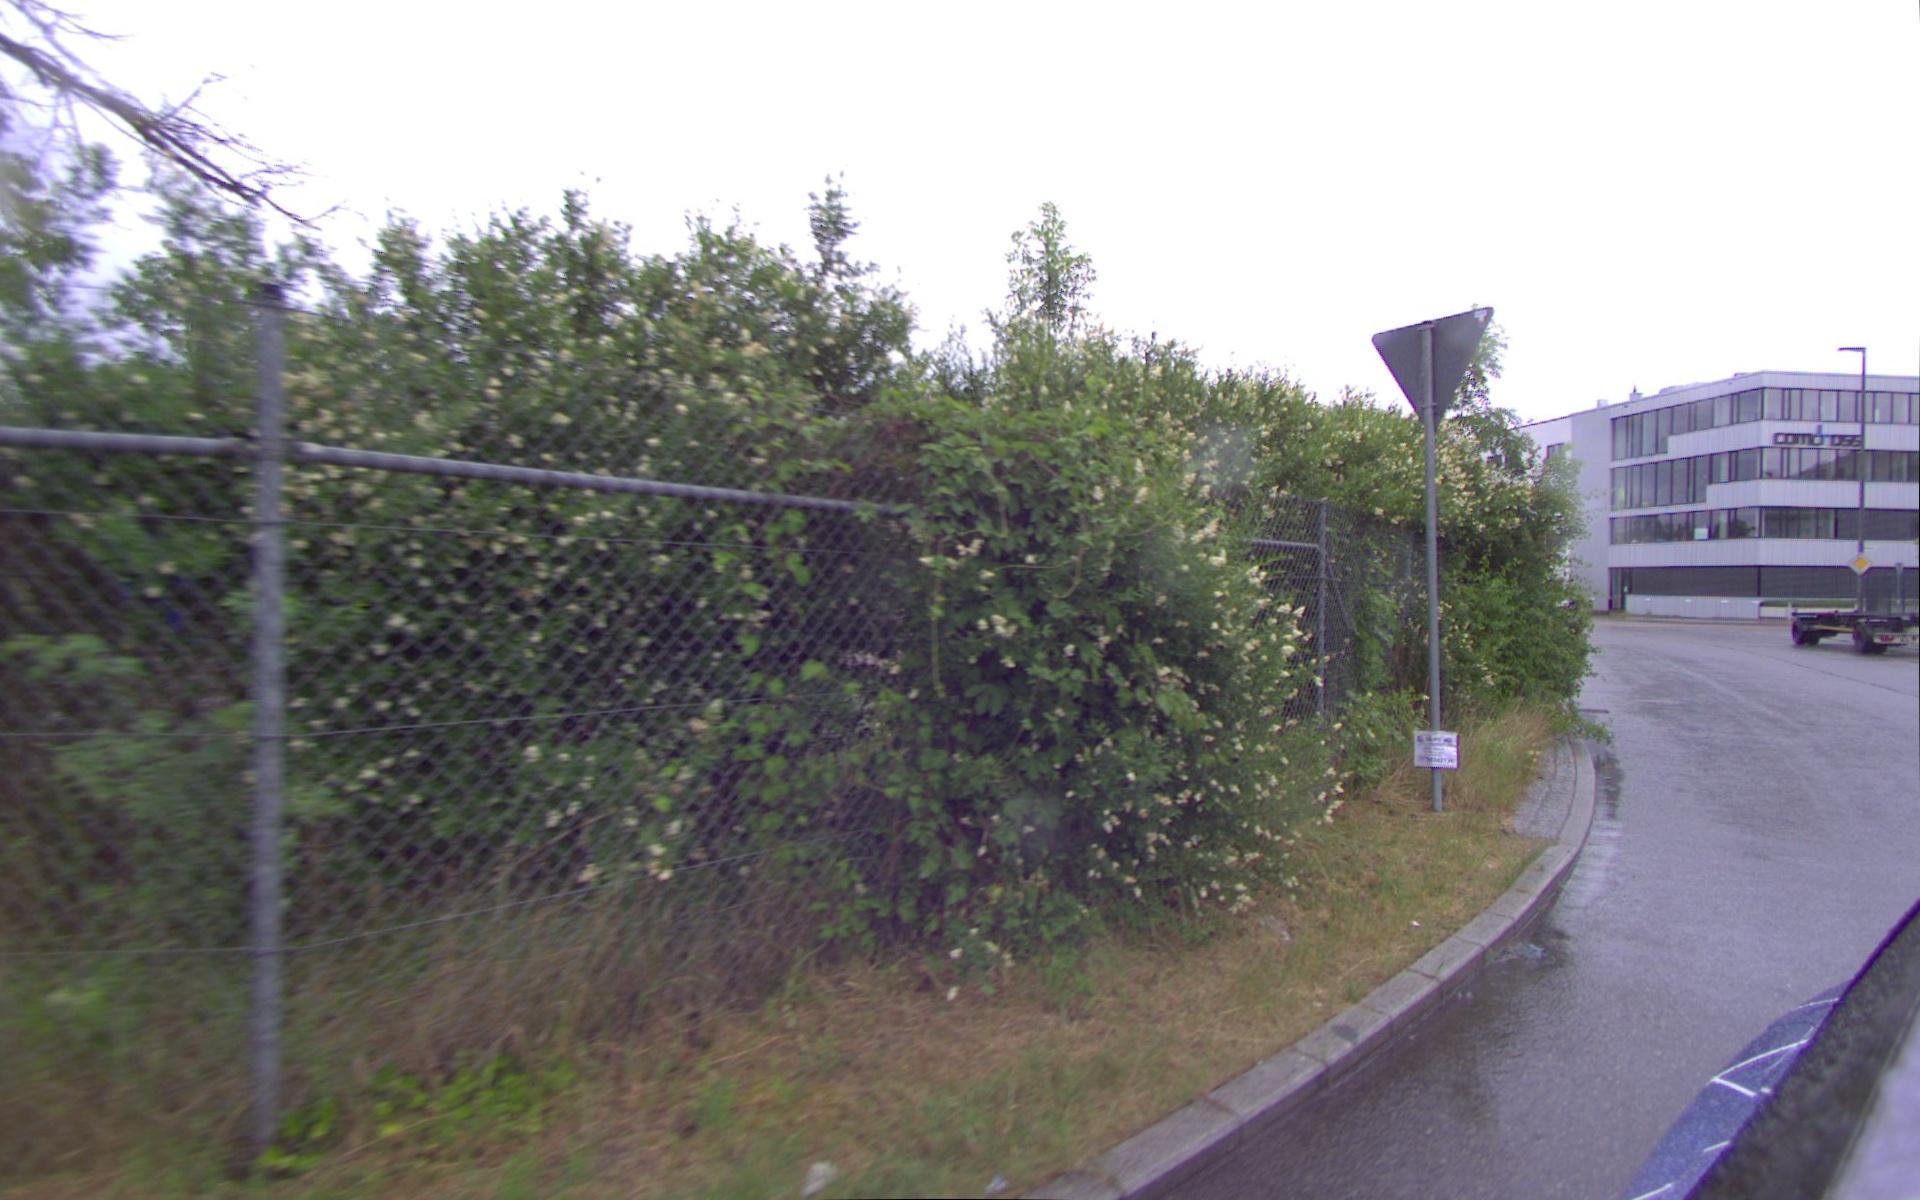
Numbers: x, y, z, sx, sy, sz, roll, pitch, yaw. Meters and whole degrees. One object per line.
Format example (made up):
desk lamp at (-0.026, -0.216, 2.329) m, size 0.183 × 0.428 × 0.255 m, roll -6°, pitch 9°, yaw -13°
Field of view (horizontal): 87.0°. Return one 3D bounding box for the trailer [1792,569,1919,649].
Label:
trailer at (26.208, 0.190, 28.543) m, size 2.549 × 2.039 × 6.582 m, roll 0°, pitch 0°, yaw 24°

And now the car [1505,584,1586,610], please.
car at (42.285, -0.217, 73.158) m, size 4.675 × 1.787 × 2.001 m, roll -1°, pitch 1°, yaw -1°
